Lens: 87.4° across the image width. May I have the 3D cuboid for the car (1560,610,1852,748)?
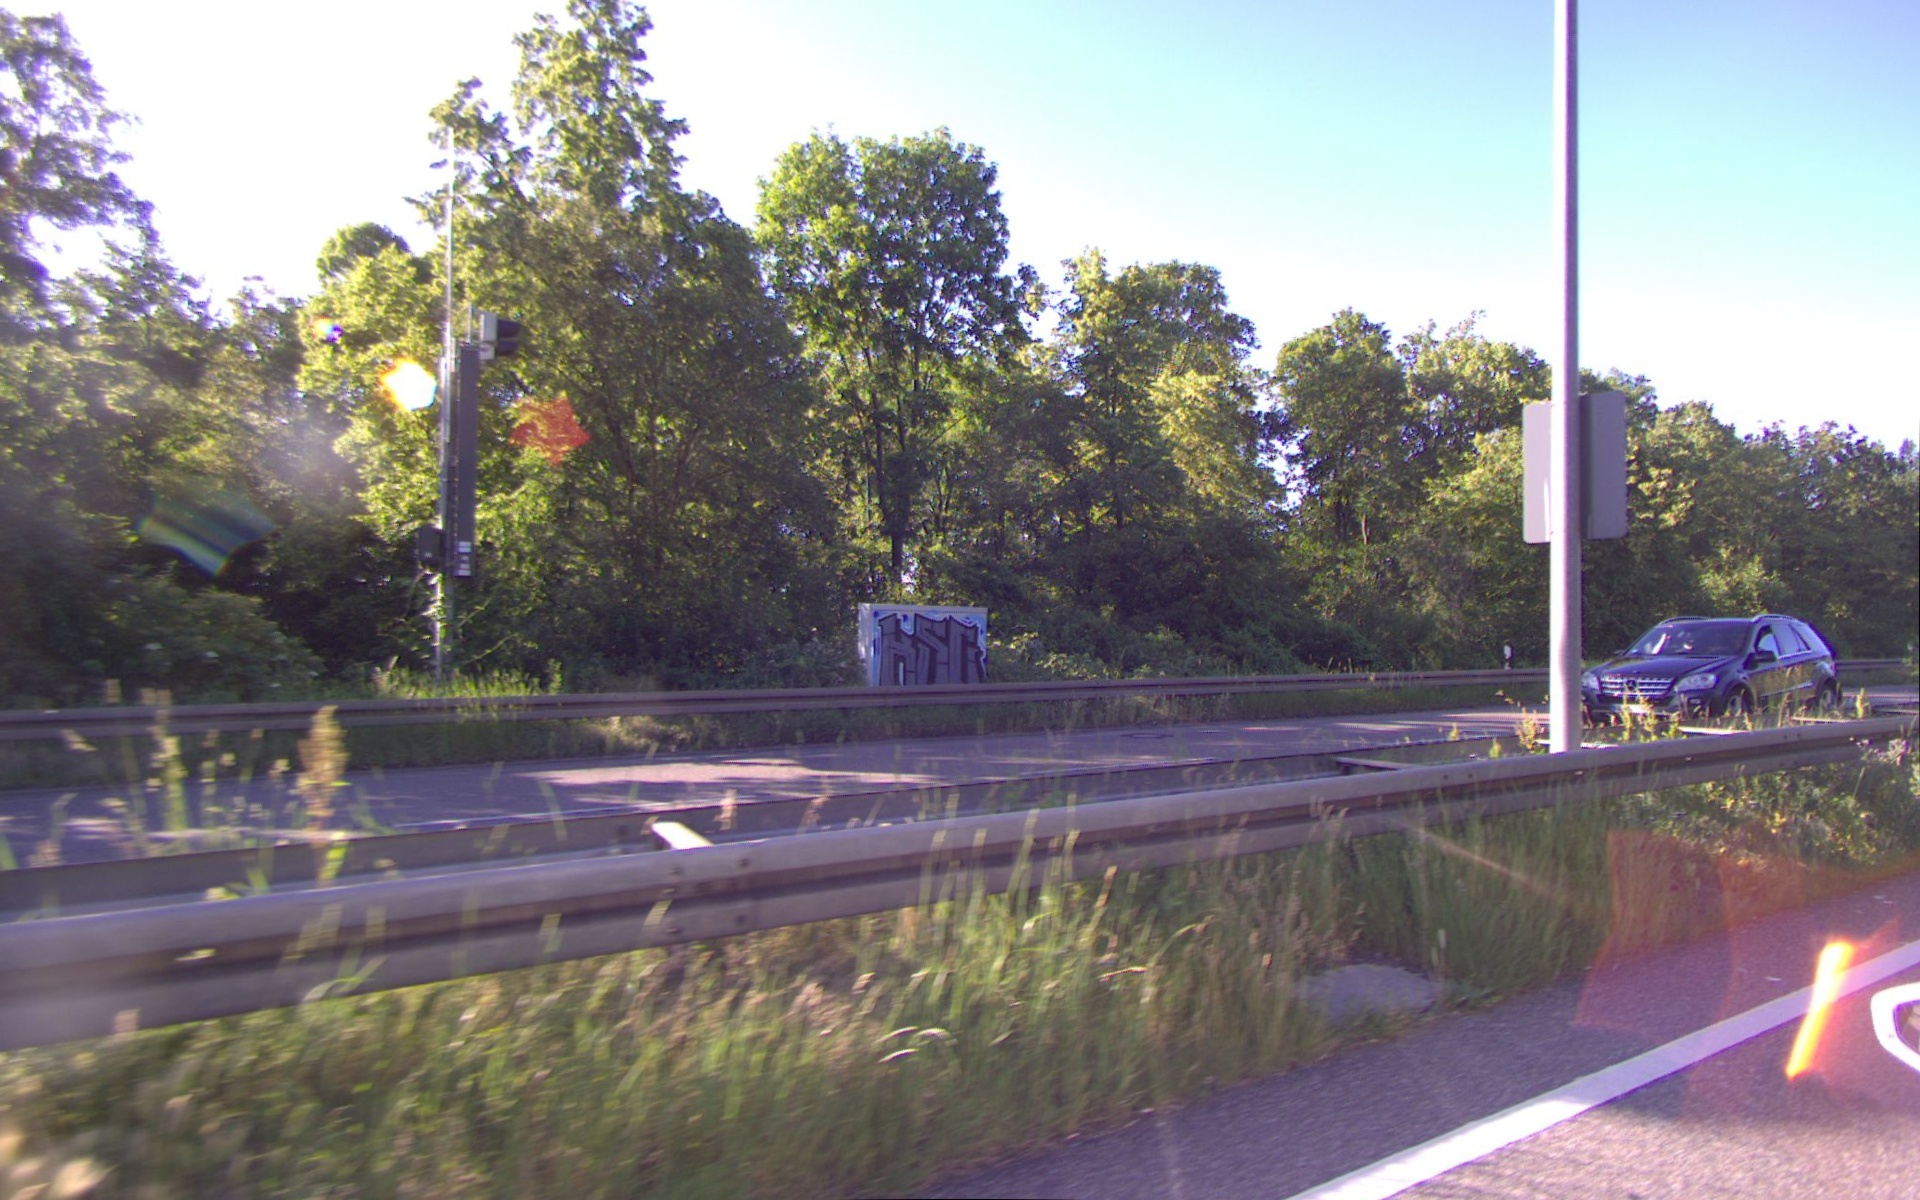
[{"bbox_3d":[11.150,1.081,14.943,4.657,1.780,1.833,1,-2,-31],"label":"car"}]
